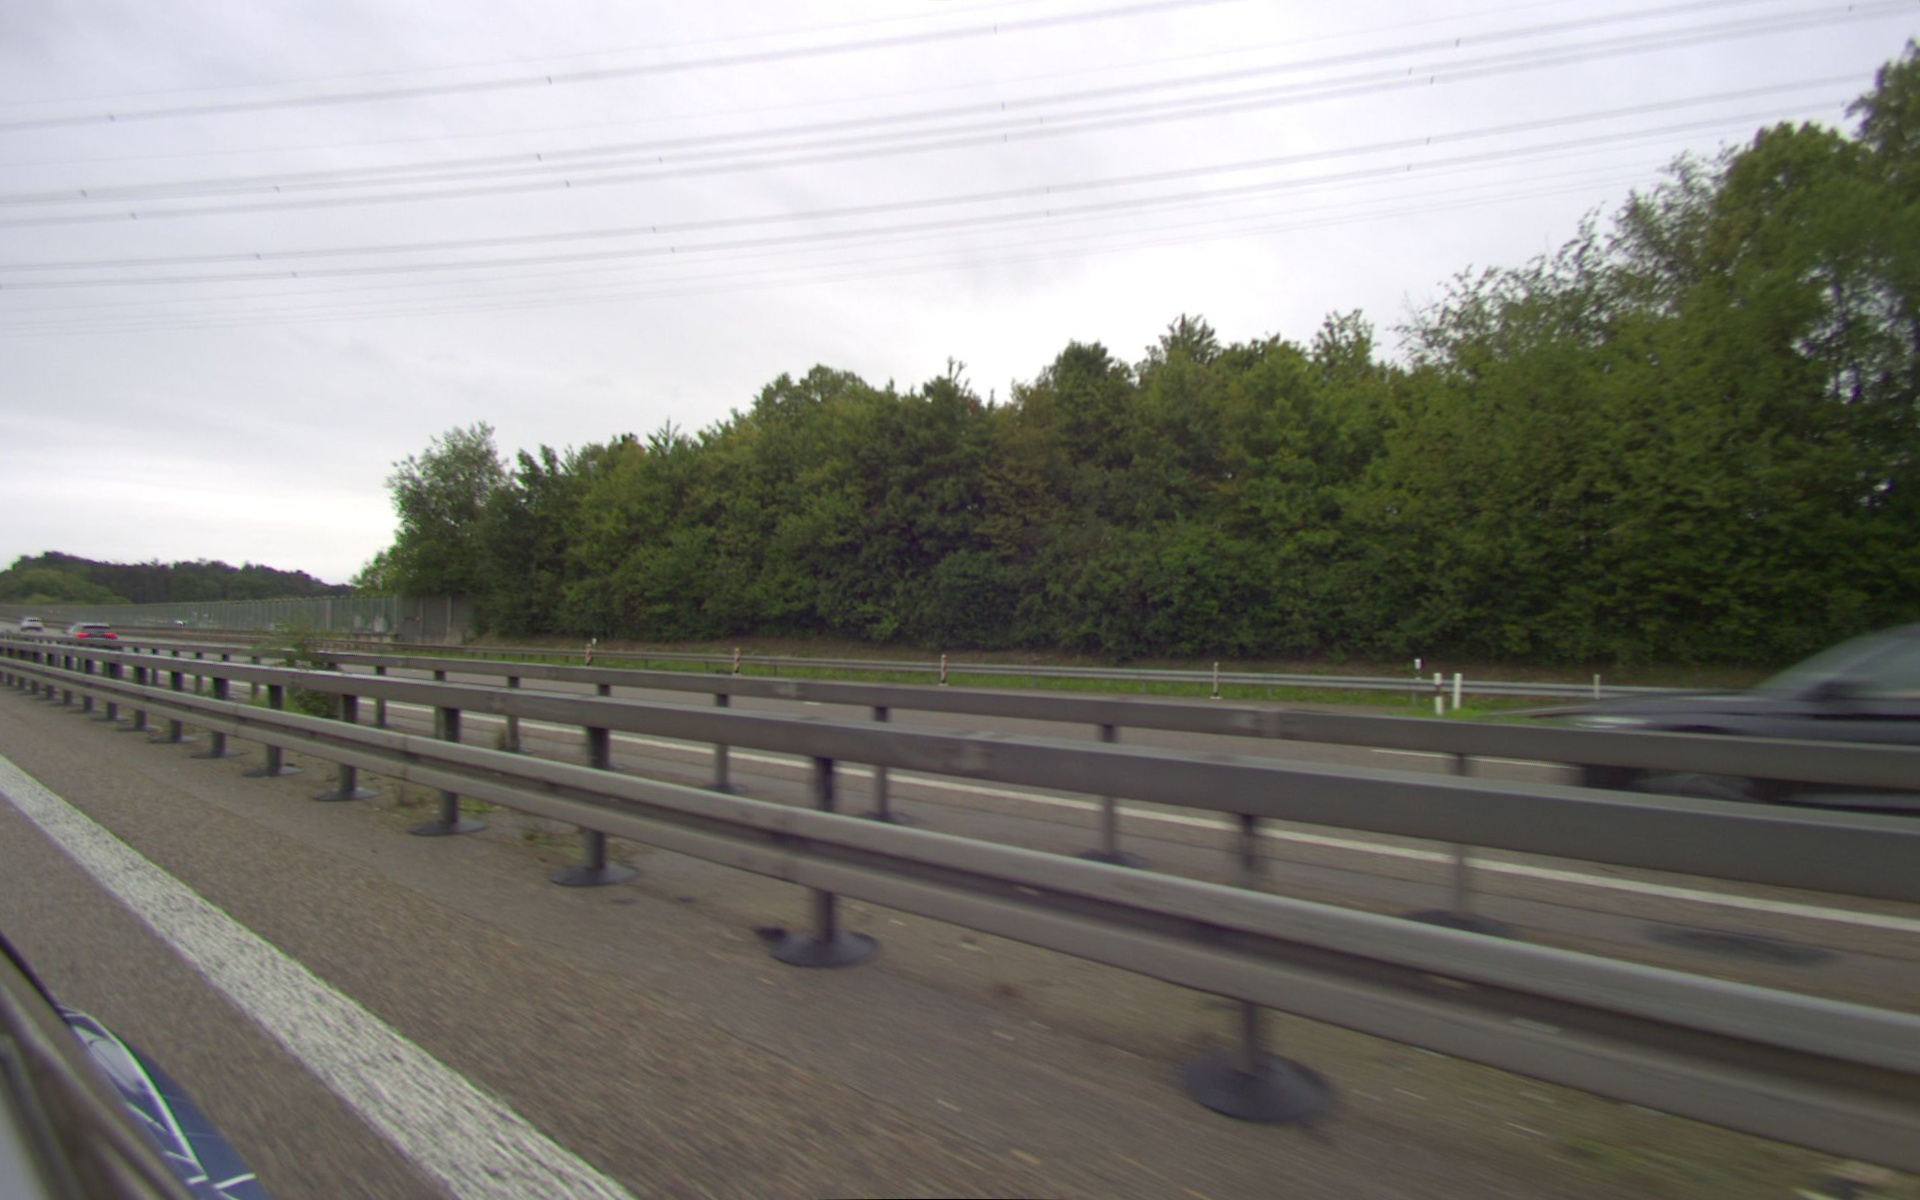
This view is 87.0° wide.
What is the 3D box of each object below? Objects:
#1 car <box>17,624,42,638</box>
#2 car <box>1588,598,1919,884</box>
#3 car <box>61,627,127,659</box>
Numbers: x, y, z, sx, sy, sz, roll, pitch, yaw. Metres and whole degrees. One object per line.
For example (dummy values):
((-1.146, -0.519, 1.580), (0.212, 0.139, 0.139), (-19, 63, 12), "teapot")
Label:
((-126.987, 4.234, 138.044), (4.913, 1.833, 1.929), (-1, -3, 41), "car")
((6.786, 0.848, 6.163), (4.788, 1.668, 1.903), (-1, -3, 41), "car")
((-43.401, 2.133, 50.703), (4.788, 1.524, 1.803), (-1, -3, 41), "car")
